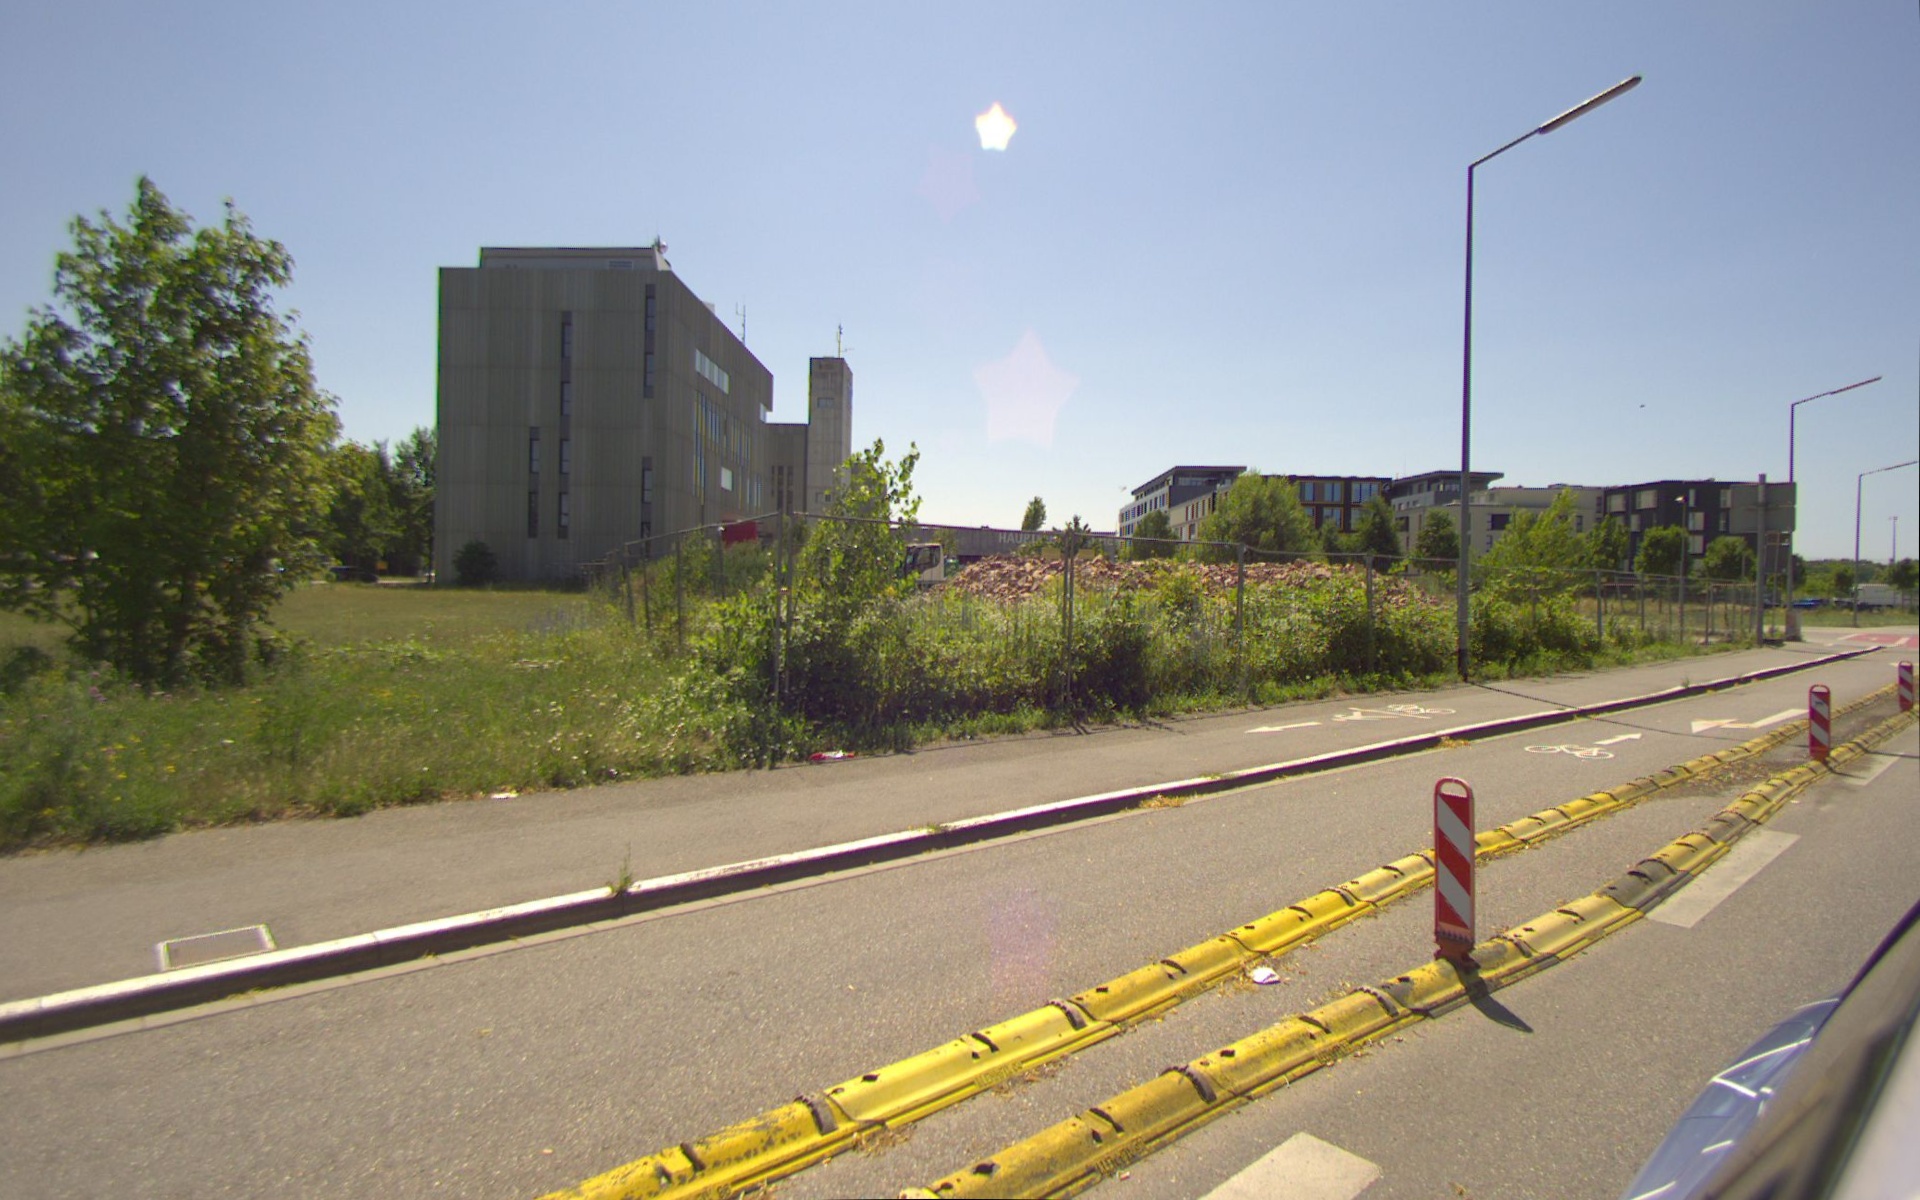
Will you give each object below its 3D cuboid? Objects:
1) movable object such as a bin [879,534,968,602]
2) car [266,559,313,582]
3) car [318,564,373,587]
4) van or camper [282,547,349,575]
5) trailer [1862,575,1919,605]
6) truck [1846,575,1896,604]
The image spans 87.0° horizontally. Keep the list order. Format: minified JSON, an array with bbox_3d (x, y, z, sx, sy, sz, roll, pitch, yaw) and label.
[{"bbox_3d":[-1.734,-1.495,48.249,3.619,3.101,2.207,0,0,-36],"label":"movable object such as a bin"},{"bbox_3d":[-64.148,-2.800,96.934,1.961,2.039,4.002,0,1,-2],"label":"car"},{"bbox_3d":[-48.848,-1.903,80.534,1.775,1.772,3.998,0,1,2],"label":"car"},{"bbox_3d":[-67.508,-4.011,106.160,2.464,2.727,7.516,0,1,-2],"label":"van or camper"},{"bbox_3d":[112.877,-1.139,120.890,8.030,3.390,1.998,1,1,4],"label":"trailer"},{"bbox_3d":[109.081,-1.257,121.181,3.928,3.377,1.998,1,1,4],"label":"truck"}]
